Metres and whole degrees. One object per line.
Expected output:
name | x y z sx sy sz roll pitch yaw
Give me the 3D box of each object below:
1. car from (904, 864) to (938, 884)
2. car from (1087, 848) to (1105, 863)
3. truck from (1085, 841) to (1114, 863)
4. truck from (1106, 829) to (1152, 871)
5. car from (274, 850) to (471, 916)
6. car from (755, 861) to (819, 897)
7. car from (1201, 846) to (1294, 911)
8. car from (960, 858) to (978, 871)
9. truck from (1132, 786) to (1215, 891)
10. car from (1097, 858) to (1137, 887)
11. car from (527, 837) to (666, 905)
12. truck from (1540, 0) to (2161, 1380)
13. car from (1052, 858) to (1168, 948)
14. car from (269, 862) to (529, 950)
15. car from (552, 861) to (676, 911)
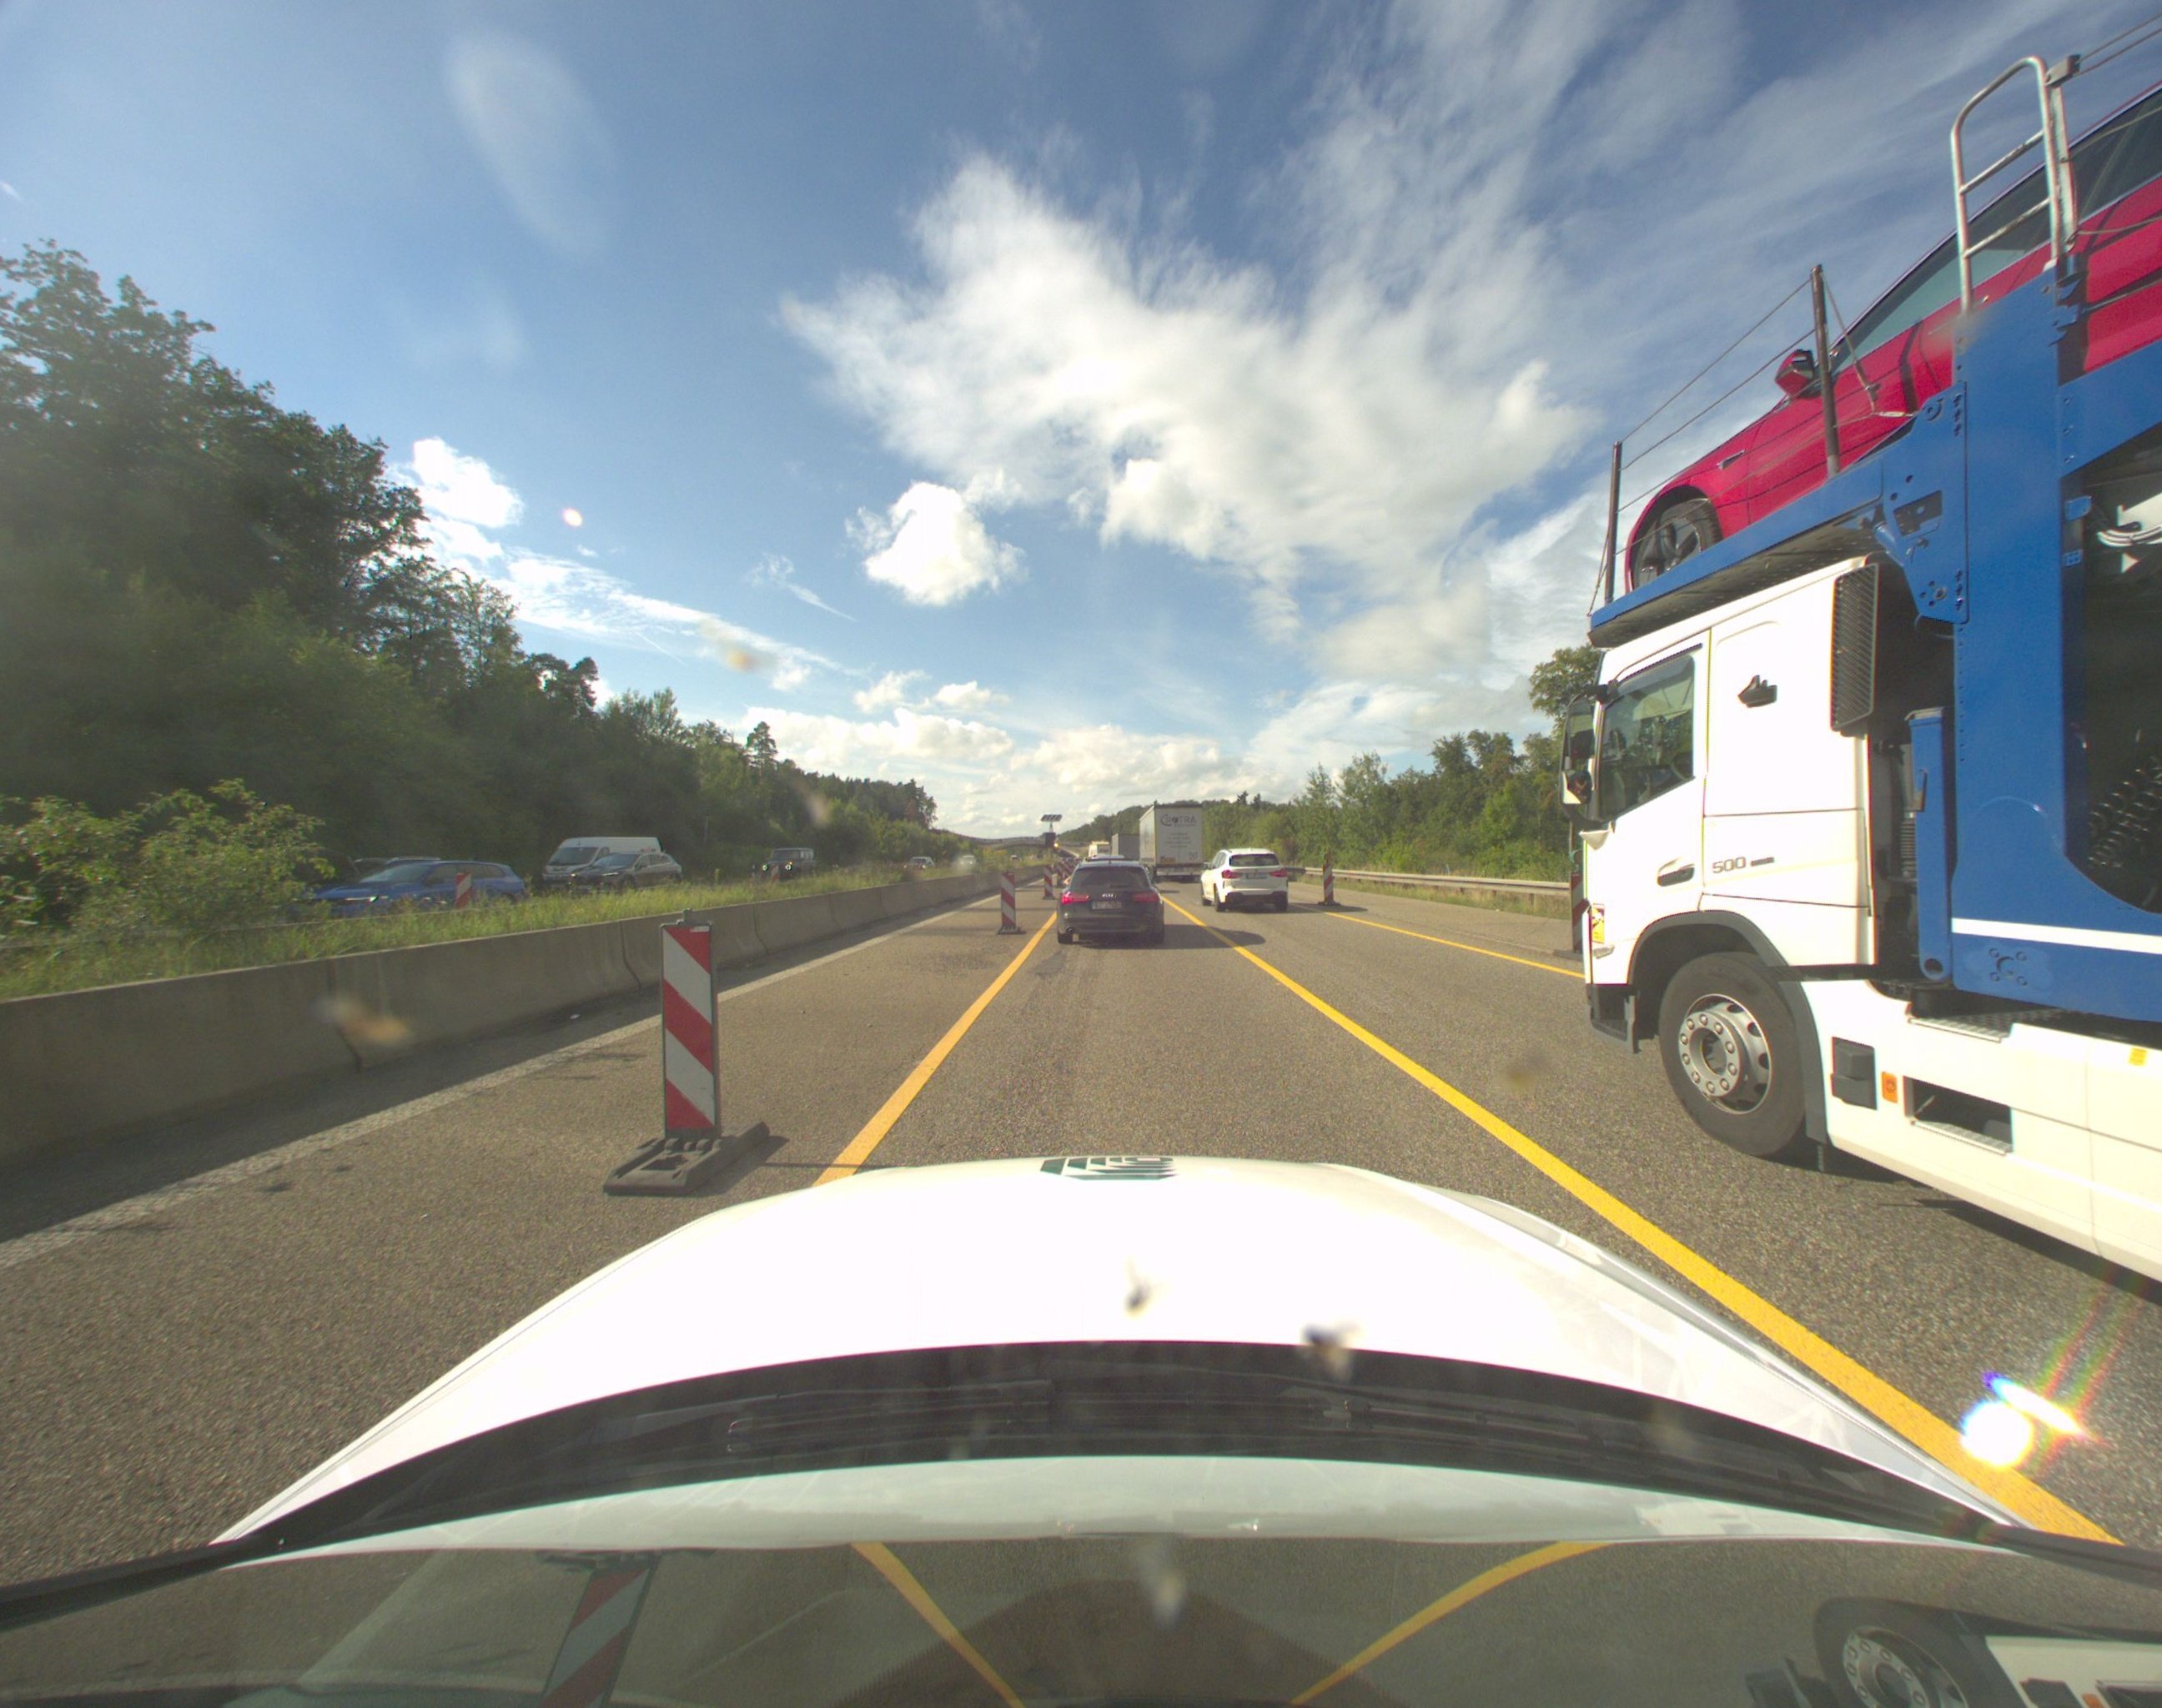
car | -12.479 1.548 63.751 1.771 1.456 4.106 0 -1 2
car | 1.687 0.214 92.382 1.885 1.643 4.015 0 -1 -1
truck | 3.421 -0.360 154.400 3.652 3.928 11.034 0 -1 -8
truck | 5.510 -0.364 95.798 4.309 4.600 11.114 0 -1 -2
car | -21.826 0.842 25.414 1.853 1.853 4.763 0 -1 2
car | -16.353 1.331 45.492 1.771 1.902 4.619 0 -1 2
car | 4.506 0.639 22.616 1.883 1.643 4.019 0 -1 2
car | -15.744 1.505 114.245 1.771 1.786 4.367 0 -1 2
truck | 5.285 -0.740 50.069 3.664 5.353 16.205 0 -1 2
car | 1.841 0.925 42.370 1.884 1.446 3.999 0 -1 0
car | -20.920 0.713 35.619 2.020 2.684 6.525 0 -1 2
truck | 4.800 -0.672 1.395 3.747 4.196 7.955 0 -1 2
car | 0.535 0.803 15.204 1.883 1.446 4.001 0 -1 2
car | -14.129 0.985 17.278 1.771 1.602 4.313 0 -1 2
car | -16.968 1.110 29.908 1.771 1.688 4.619 0 -1 2
